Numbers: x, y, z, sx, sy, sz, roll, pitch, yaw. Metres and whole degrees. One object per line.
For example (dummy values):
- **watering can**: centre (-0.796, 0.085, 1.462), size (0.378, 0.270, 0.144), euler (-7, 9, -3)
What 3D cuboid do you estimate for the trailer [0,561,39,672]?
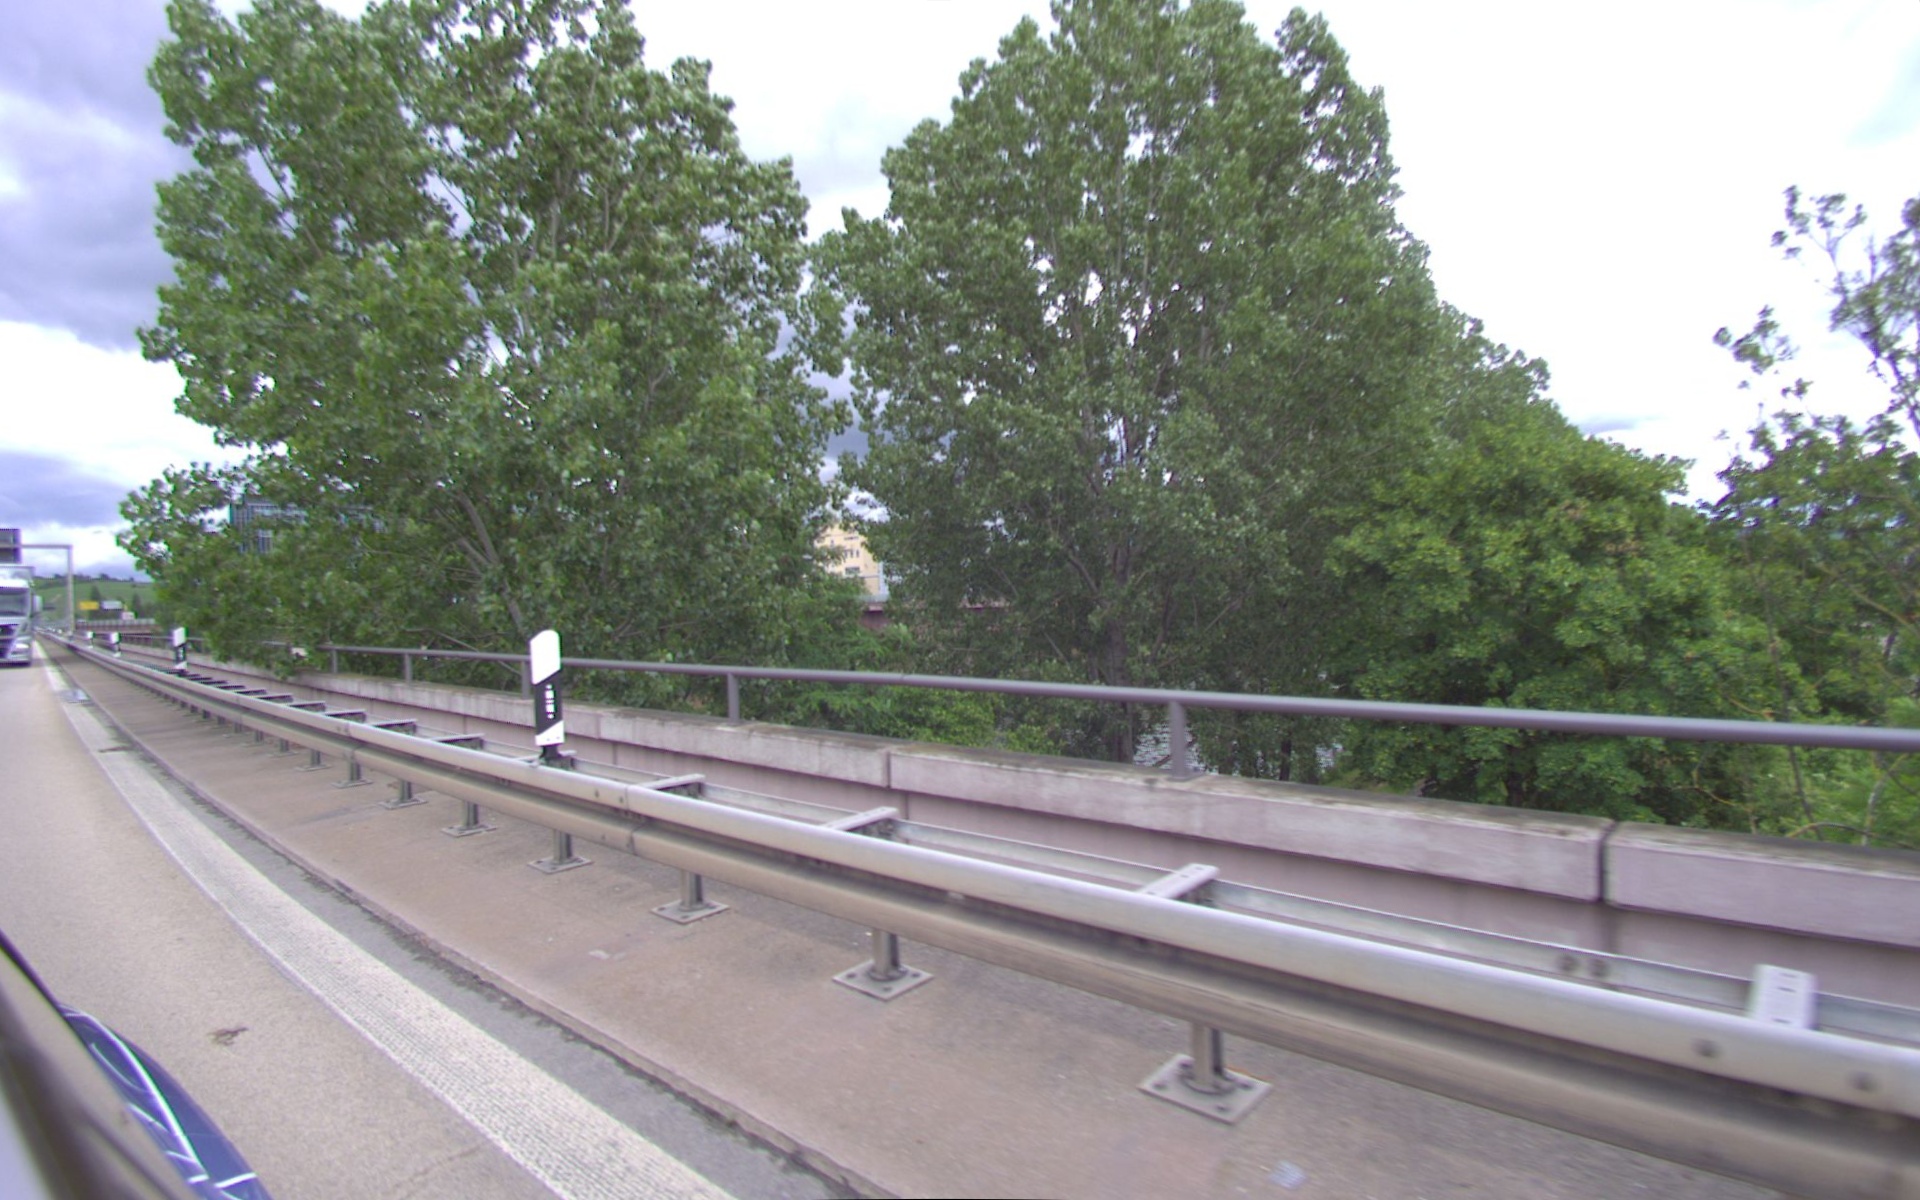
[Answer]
- **trailer**: centre (-41.664, 0.743, 43.694), size (2.707, 4.269, 13.464), euler (0, -1, -42)

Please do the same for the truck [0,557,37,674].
- **truck**: centre (-37.351, 0.616, 38.898), size (2.695, 4.260, 6.209), euler (0, -1, -42)
